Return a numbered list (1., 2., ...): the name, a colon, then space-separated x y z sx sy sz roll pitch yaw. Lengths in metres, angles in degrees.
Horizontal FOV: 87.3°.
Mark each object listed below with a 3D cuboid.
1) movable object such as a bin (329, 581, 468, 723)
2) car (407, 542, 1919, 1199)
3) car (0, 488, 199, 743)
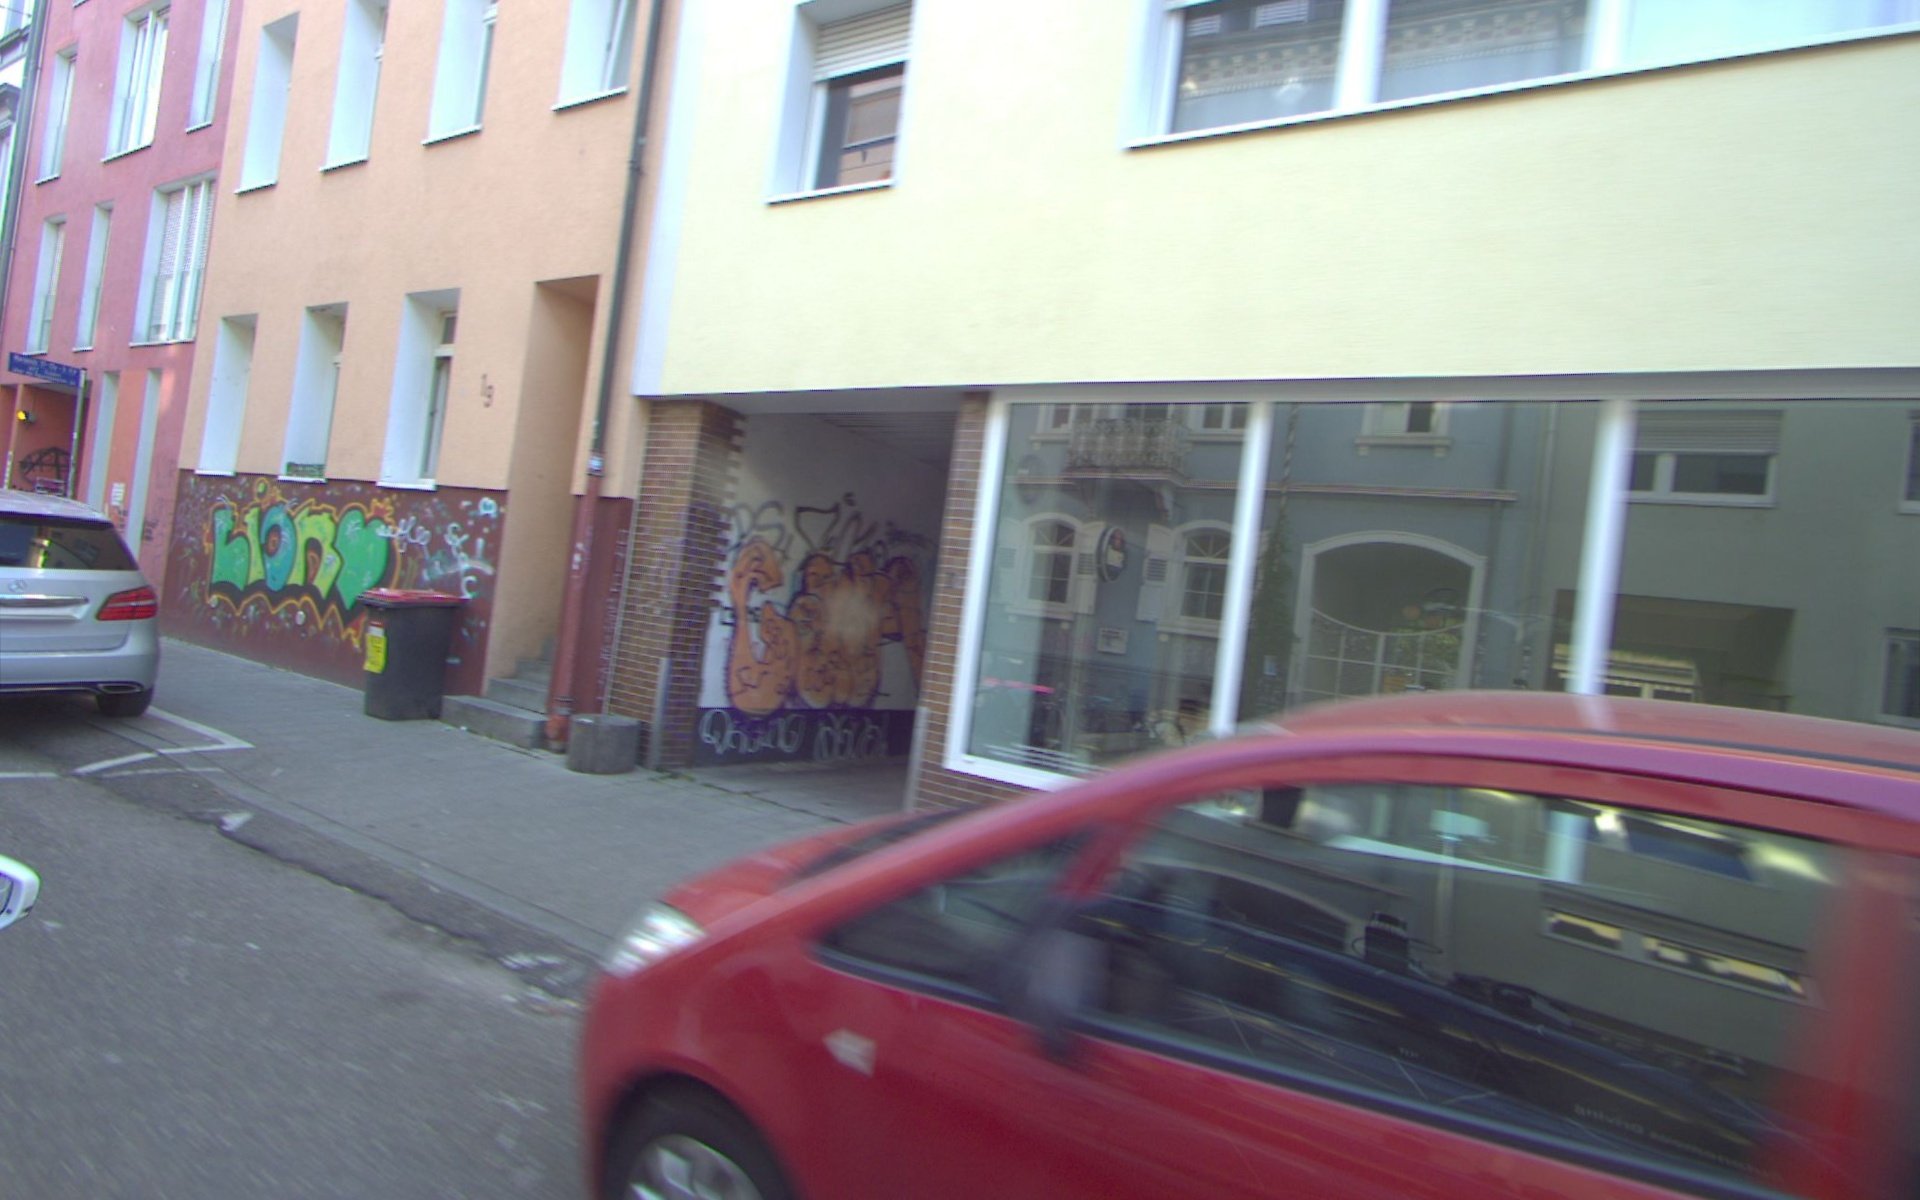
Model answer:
1. movable object such as a bin: -4.721 0.425 8.471 0.724 1.071 0.692 7 2 32
2. car: 0.847 0.883 2.029 3.915 1.542 1.699 7 0 33
3. car: -7.579 -0.086 7.406 4.103 1.574 1.748 7 -1 33
